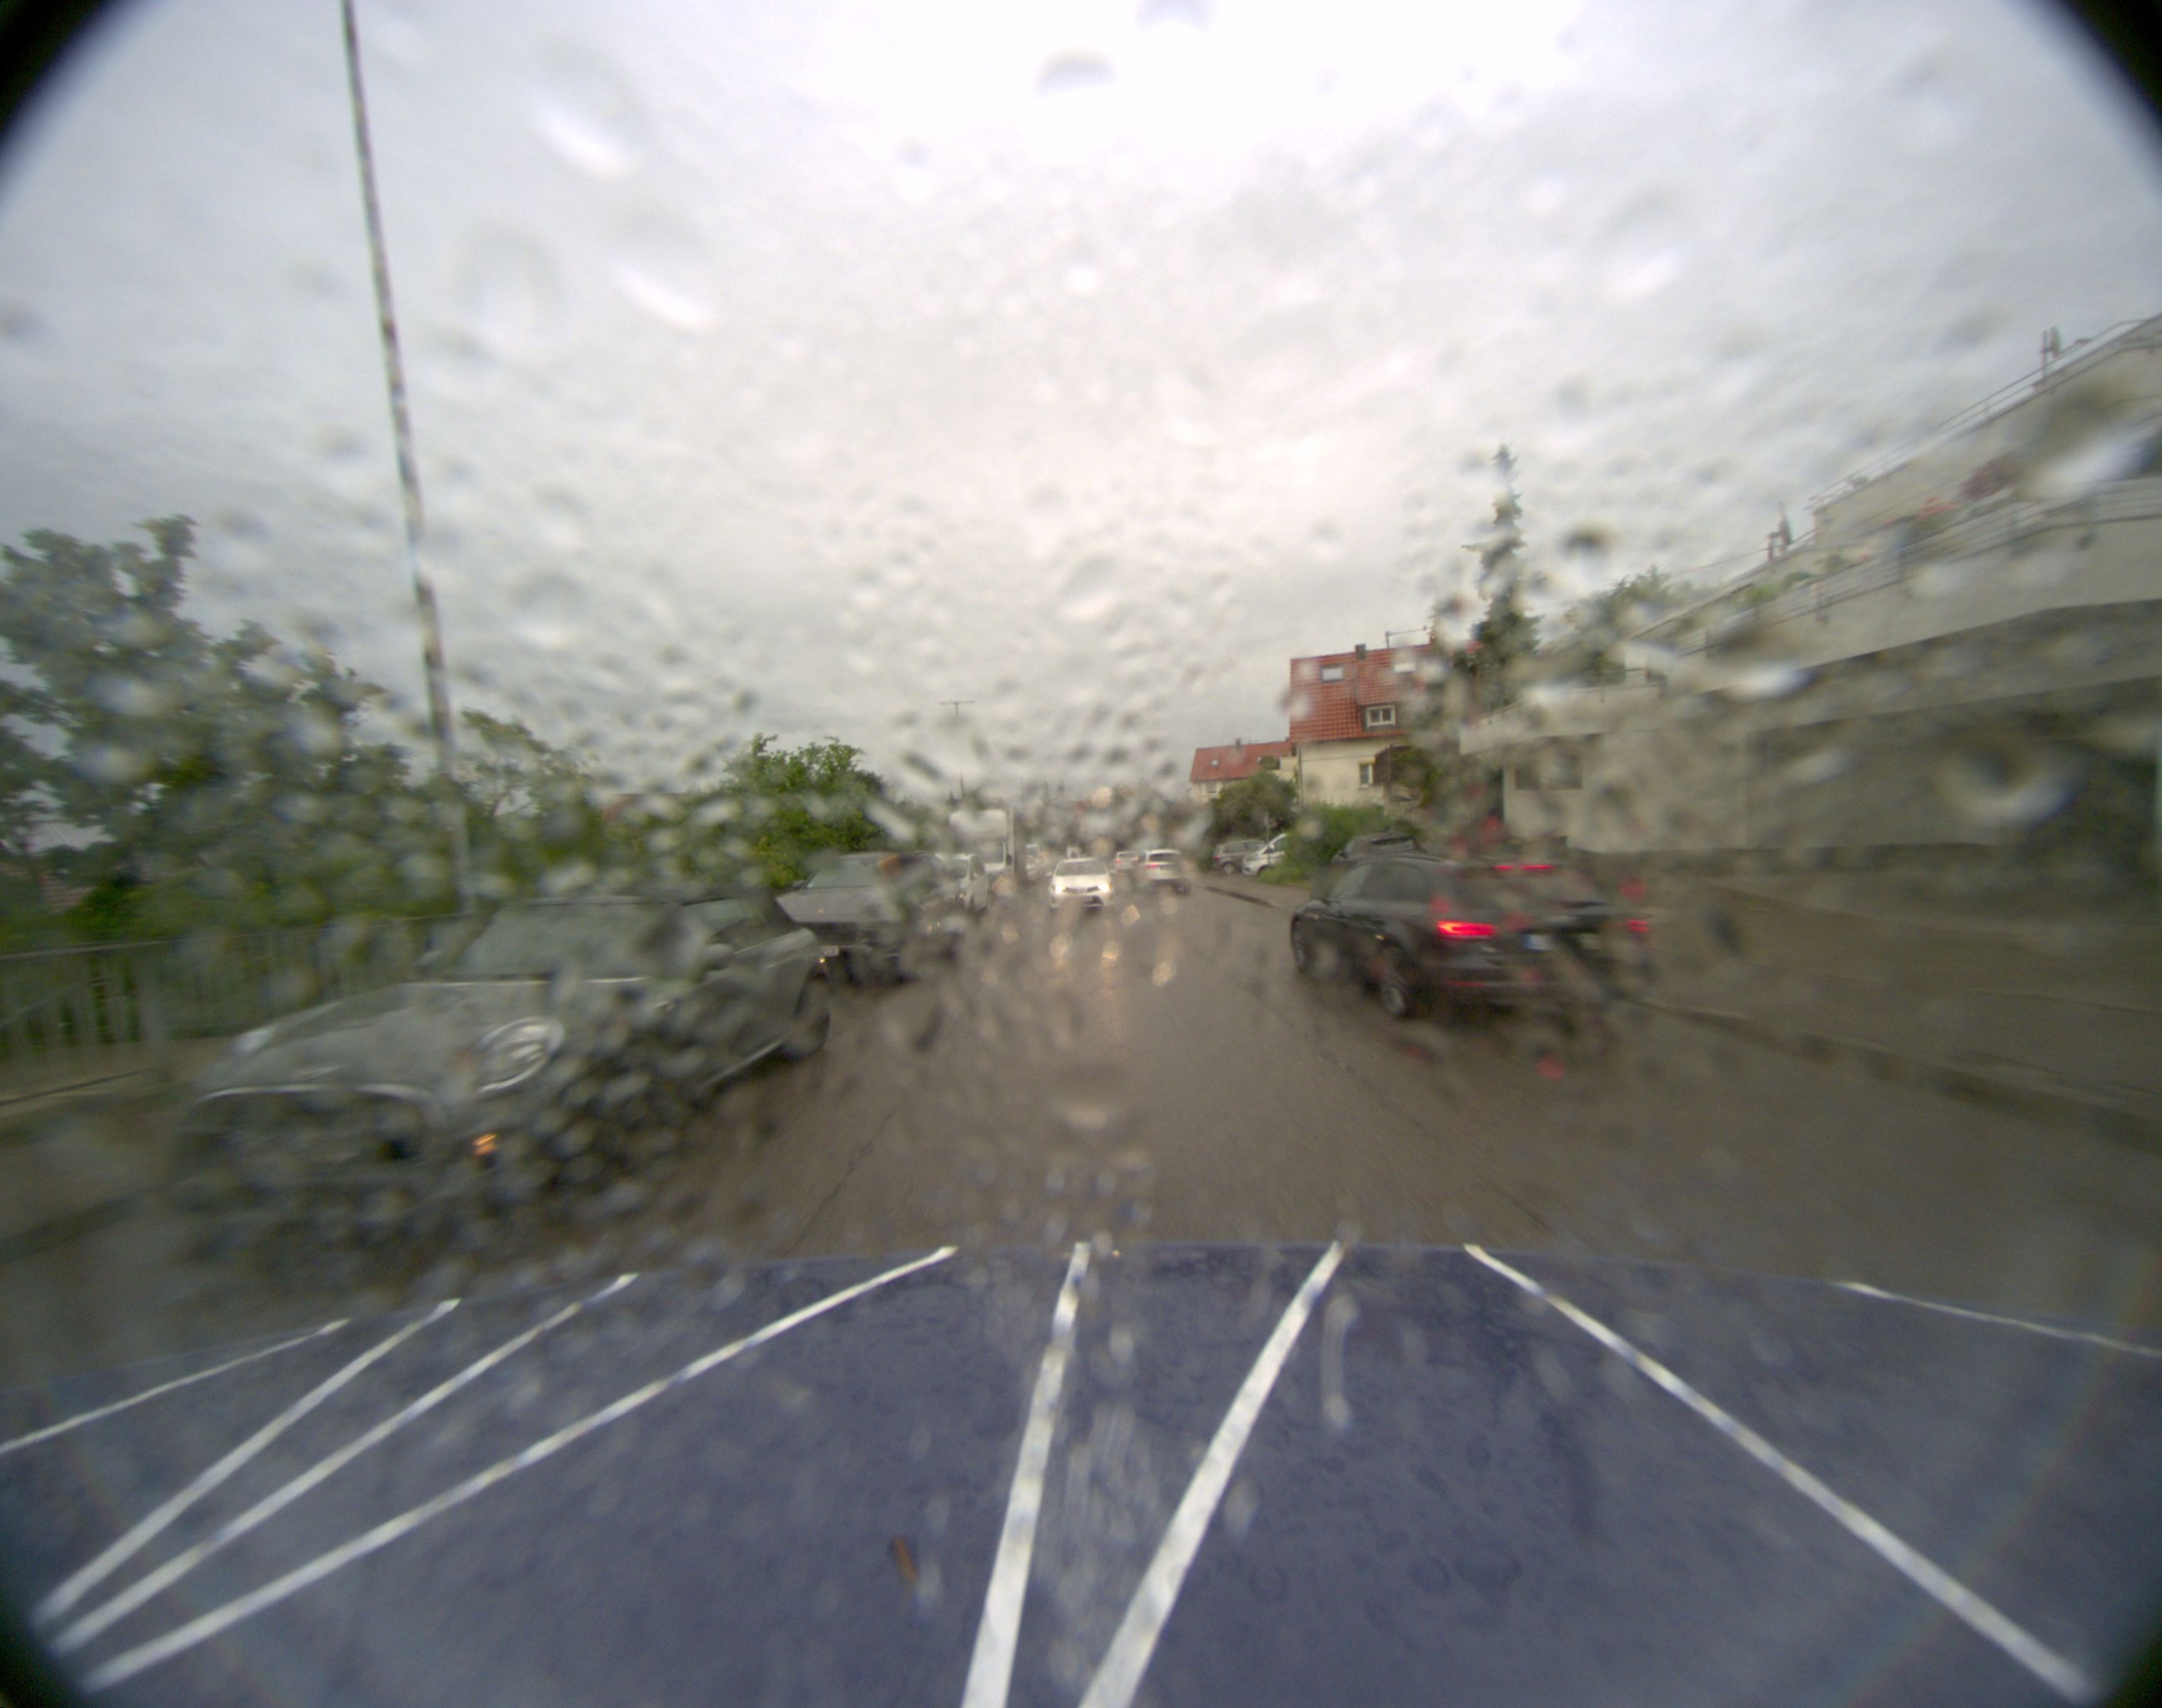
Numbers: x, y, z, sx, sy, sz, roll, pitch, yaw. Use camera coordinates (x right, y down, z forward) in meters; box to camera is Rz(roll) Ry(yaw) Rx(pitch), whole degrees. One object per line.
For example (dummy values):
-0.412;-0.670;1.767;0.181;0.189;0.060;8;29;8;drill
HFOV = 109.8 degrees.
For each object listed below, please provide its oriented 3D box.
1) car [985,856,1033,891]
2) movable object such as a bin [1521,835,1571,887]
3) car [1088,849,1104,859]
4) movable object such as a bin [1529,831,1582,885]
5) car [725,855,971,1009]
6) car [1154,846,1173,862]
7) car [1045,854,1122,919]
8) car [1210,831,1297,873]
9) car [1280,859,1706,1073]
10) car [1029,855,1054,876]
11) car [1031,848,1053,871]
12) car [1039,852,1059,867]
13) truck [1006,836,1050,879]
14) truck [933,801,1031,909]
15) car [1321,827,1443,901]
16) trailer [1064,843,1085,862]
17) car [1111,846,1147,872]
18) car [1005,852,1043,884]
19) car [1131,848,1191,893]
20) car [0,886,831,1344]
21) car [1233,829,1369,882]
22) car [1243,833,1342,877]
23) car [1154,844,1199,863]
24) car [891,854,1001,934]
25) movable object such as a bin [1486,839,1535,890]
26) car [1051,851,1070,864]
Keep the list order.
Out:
-3.336;0.859;36.218;1.837;1.429;4.985;-2;1;-1;car
10.646;0.153;17.414;0.725;1.064;0.767;-7;2;18;movable object such as a bin
2.452;0.050;121.189;1.636;1.448;3.704;-1;1;17;car
10.385;0.071;16.660;0.725;1.064;0.767;-7;2;18;movable object such as a bin
-3.004;0.897;11.034;1.941;1.662;4.694;-2;1;2;car
8.194;-0.022;75.223;1.769;1.368;4.249;-6;1;7;car
0.082;0.835;21.435;1.863;1.370;4.179;-4;2;1;car
8.835;-0.105;38.975;4.061;1.682;1.895;-6;1;13;car
3.446;0.801;7.481;1.779;1.429;4.361;0;0;-1;car
-3.191;0.881;62.286;1.652;1.554;3.963;-2;1;1;car
-3.471;0.461;68.571;1.854;1.871;4.909;-2;1;-2;car
-3.364;0.557;80.234;1.820;1.498;4.723;-2;1;1;car
-3.442;0.201;50.643;2.244;2.616;6.537;-2;1;1;truck
-3.378;-0.018;27.924;2.442;3.316;7.963;-2;1;0;truck
8.120;0.233;20.927;1.693;1.579;4.197;-9;0;3;car
-0.882;-0.224;107.582;1.952;2.442;5.437;-2;1;10;trailer
3.200;0.333;51.246;1.911;1.598;4.427;-3;0;-2;car
-3.156;0.724;42.832;1.764;1.595;4.665;-2;1;-1;car
2.996;0.574;29.148;1.803;1.558;4.383;-1;0;0;car
-3.015;1.027;4.619;1.593;1.421;3.797;-2;1;2;car
8.866;0.063;30.868;5.091;1.933;2.144;-2;1;16;car
9.458;0.039;34.007;4.060;1.629;1.895;-4;1;16;car
8.849;-0.029;70.203;3.831;1.470;1.805;4;2;15;car
-3.364;0.915;20.072;1.851;1.674;5.637;-2;1;0;car
9.982;0.229;17.686;0.725;1.064;0.850;-7;2;18;movable object such as a bin
-2.526;0.436;96.509;1.797;1.451;4.790;-2;1;6;car
